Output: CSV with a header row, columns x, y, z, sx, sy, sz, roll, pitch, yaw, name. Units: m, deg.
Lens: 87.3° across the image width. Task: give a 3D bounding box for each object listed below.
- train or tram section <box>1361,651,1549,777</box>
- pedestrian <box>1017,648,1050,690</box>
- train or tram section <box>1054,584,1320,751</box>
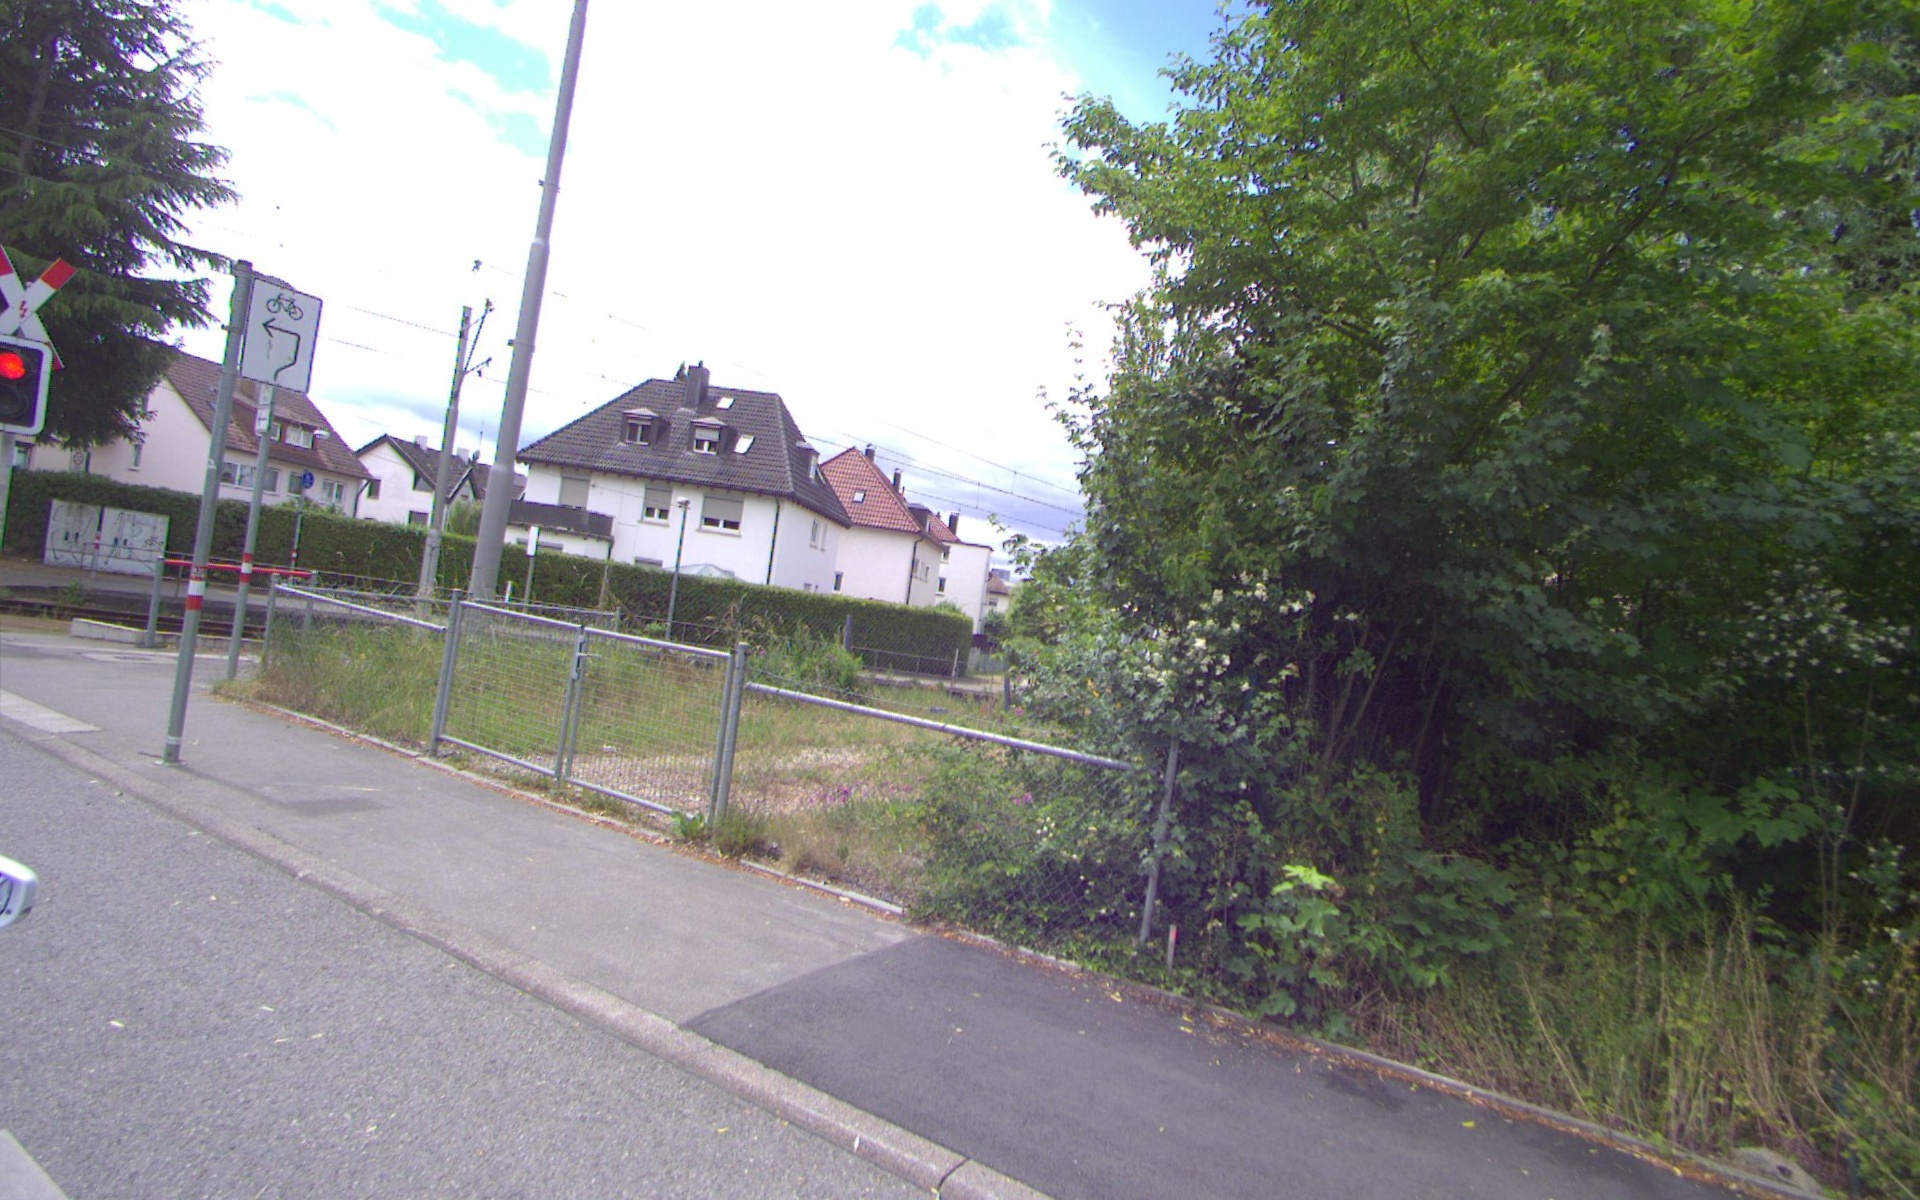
x,y,z,sx,sy,sz,roll,pitch,yaw,name
18.861,4.373,38.090,7.655,3.762,2.842,10,-3,-36,train or tram section
3.309,3.120,45.451,0.910,1.707,0.925,8,-1,-31,pedestrian
6.728,2.039,29.145,7.655,3.762,2.842,10,-3,-36,train or tram section
